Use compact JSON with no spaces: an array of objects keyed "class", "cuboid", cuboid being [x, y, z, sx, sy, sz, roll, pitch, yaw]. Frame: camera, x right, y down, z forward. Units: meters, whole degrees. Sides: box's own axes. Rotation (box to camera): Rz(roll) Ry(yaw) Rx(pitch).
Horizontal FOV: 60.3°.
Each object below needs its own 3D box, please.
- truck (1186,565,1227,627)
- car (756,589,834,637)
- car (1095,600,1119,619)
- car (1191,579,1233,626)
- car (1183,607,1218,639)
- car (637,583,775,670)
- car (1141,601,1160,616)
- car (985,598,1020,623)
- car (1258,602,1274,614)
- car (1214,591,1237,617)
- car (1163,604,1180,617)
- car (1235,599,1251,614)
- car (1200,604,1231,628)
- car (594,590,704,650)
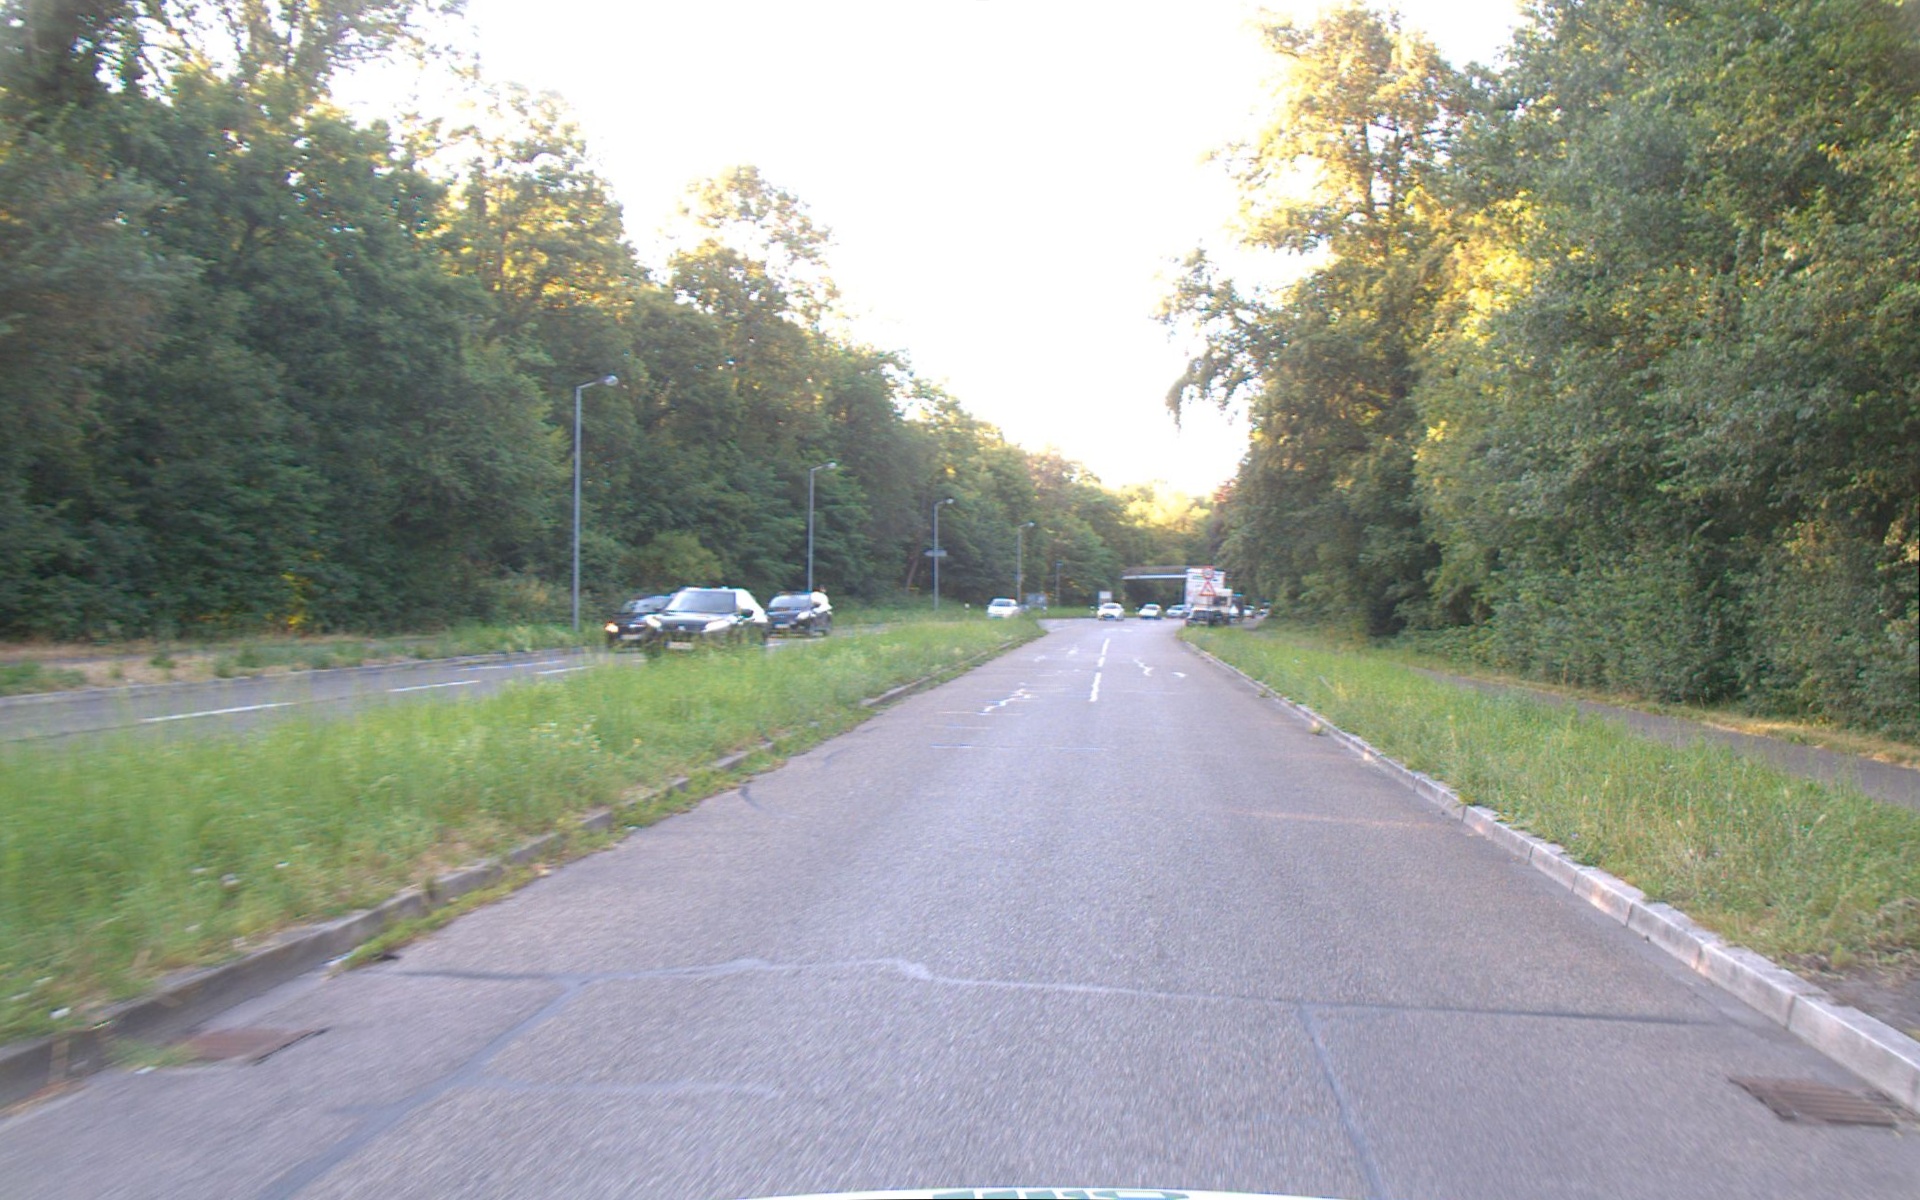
[{"class":"truck","cuboid":[17.302,-0.248,115.942,2.601,4.098,9.730,2,0,9]},{"class":"car","cuboid":[-5.907,0.448,59.801,1.951,1.656,4.654,-1,0,5]},{"class":"car","cuboid":[12.615,0.832,141.665,1.797,1.534,3.940,0,-2,9]},{"class":"car","cuboid":[16.393,0.186,107.713,2.357,2.908,5.936,2,0,6]},{"class":"car","cuboid":[11.845,1.103,81.511,1.628,1.430,3.945,4,0,8]},{"class":"car","cuboid":[-5.146,0.522,34.087,1.775,1.656,4.454,-1,0,5]},{"class":"car","cuboid":[19.286,0.895,167.325,1.679,1.471,4.177,1,0,9]},{"class":"car","cuboid":[2.803,0.690,108.142,1.951,1.483,3.813,0,-2,7]},{"class":"car","cuboid":[38.711,1.046,209.314,1.851,1.473,4.113,1,0,12]},{"class":"car","cuboid":[26.448,0.422,164.876,1.951,2.452,5.828,0,-2,12]},{"class":"car","cuboid":[23.368,1.172,182.439,1.683,1.422,4.378,1,0,10]},{"class":"car","cuboid":[37.132,0.850,216.612,1.951,1.870,4.003,1,0,11]},{"class":"car","cuboid":[15.601,0.955,101.182,1.662,1.430,4.078,1,0,6]},{"class":"car","cuboid":[-8.209,0.524,44.052,1.784,1.506,4.235,-1,0,5]}]
